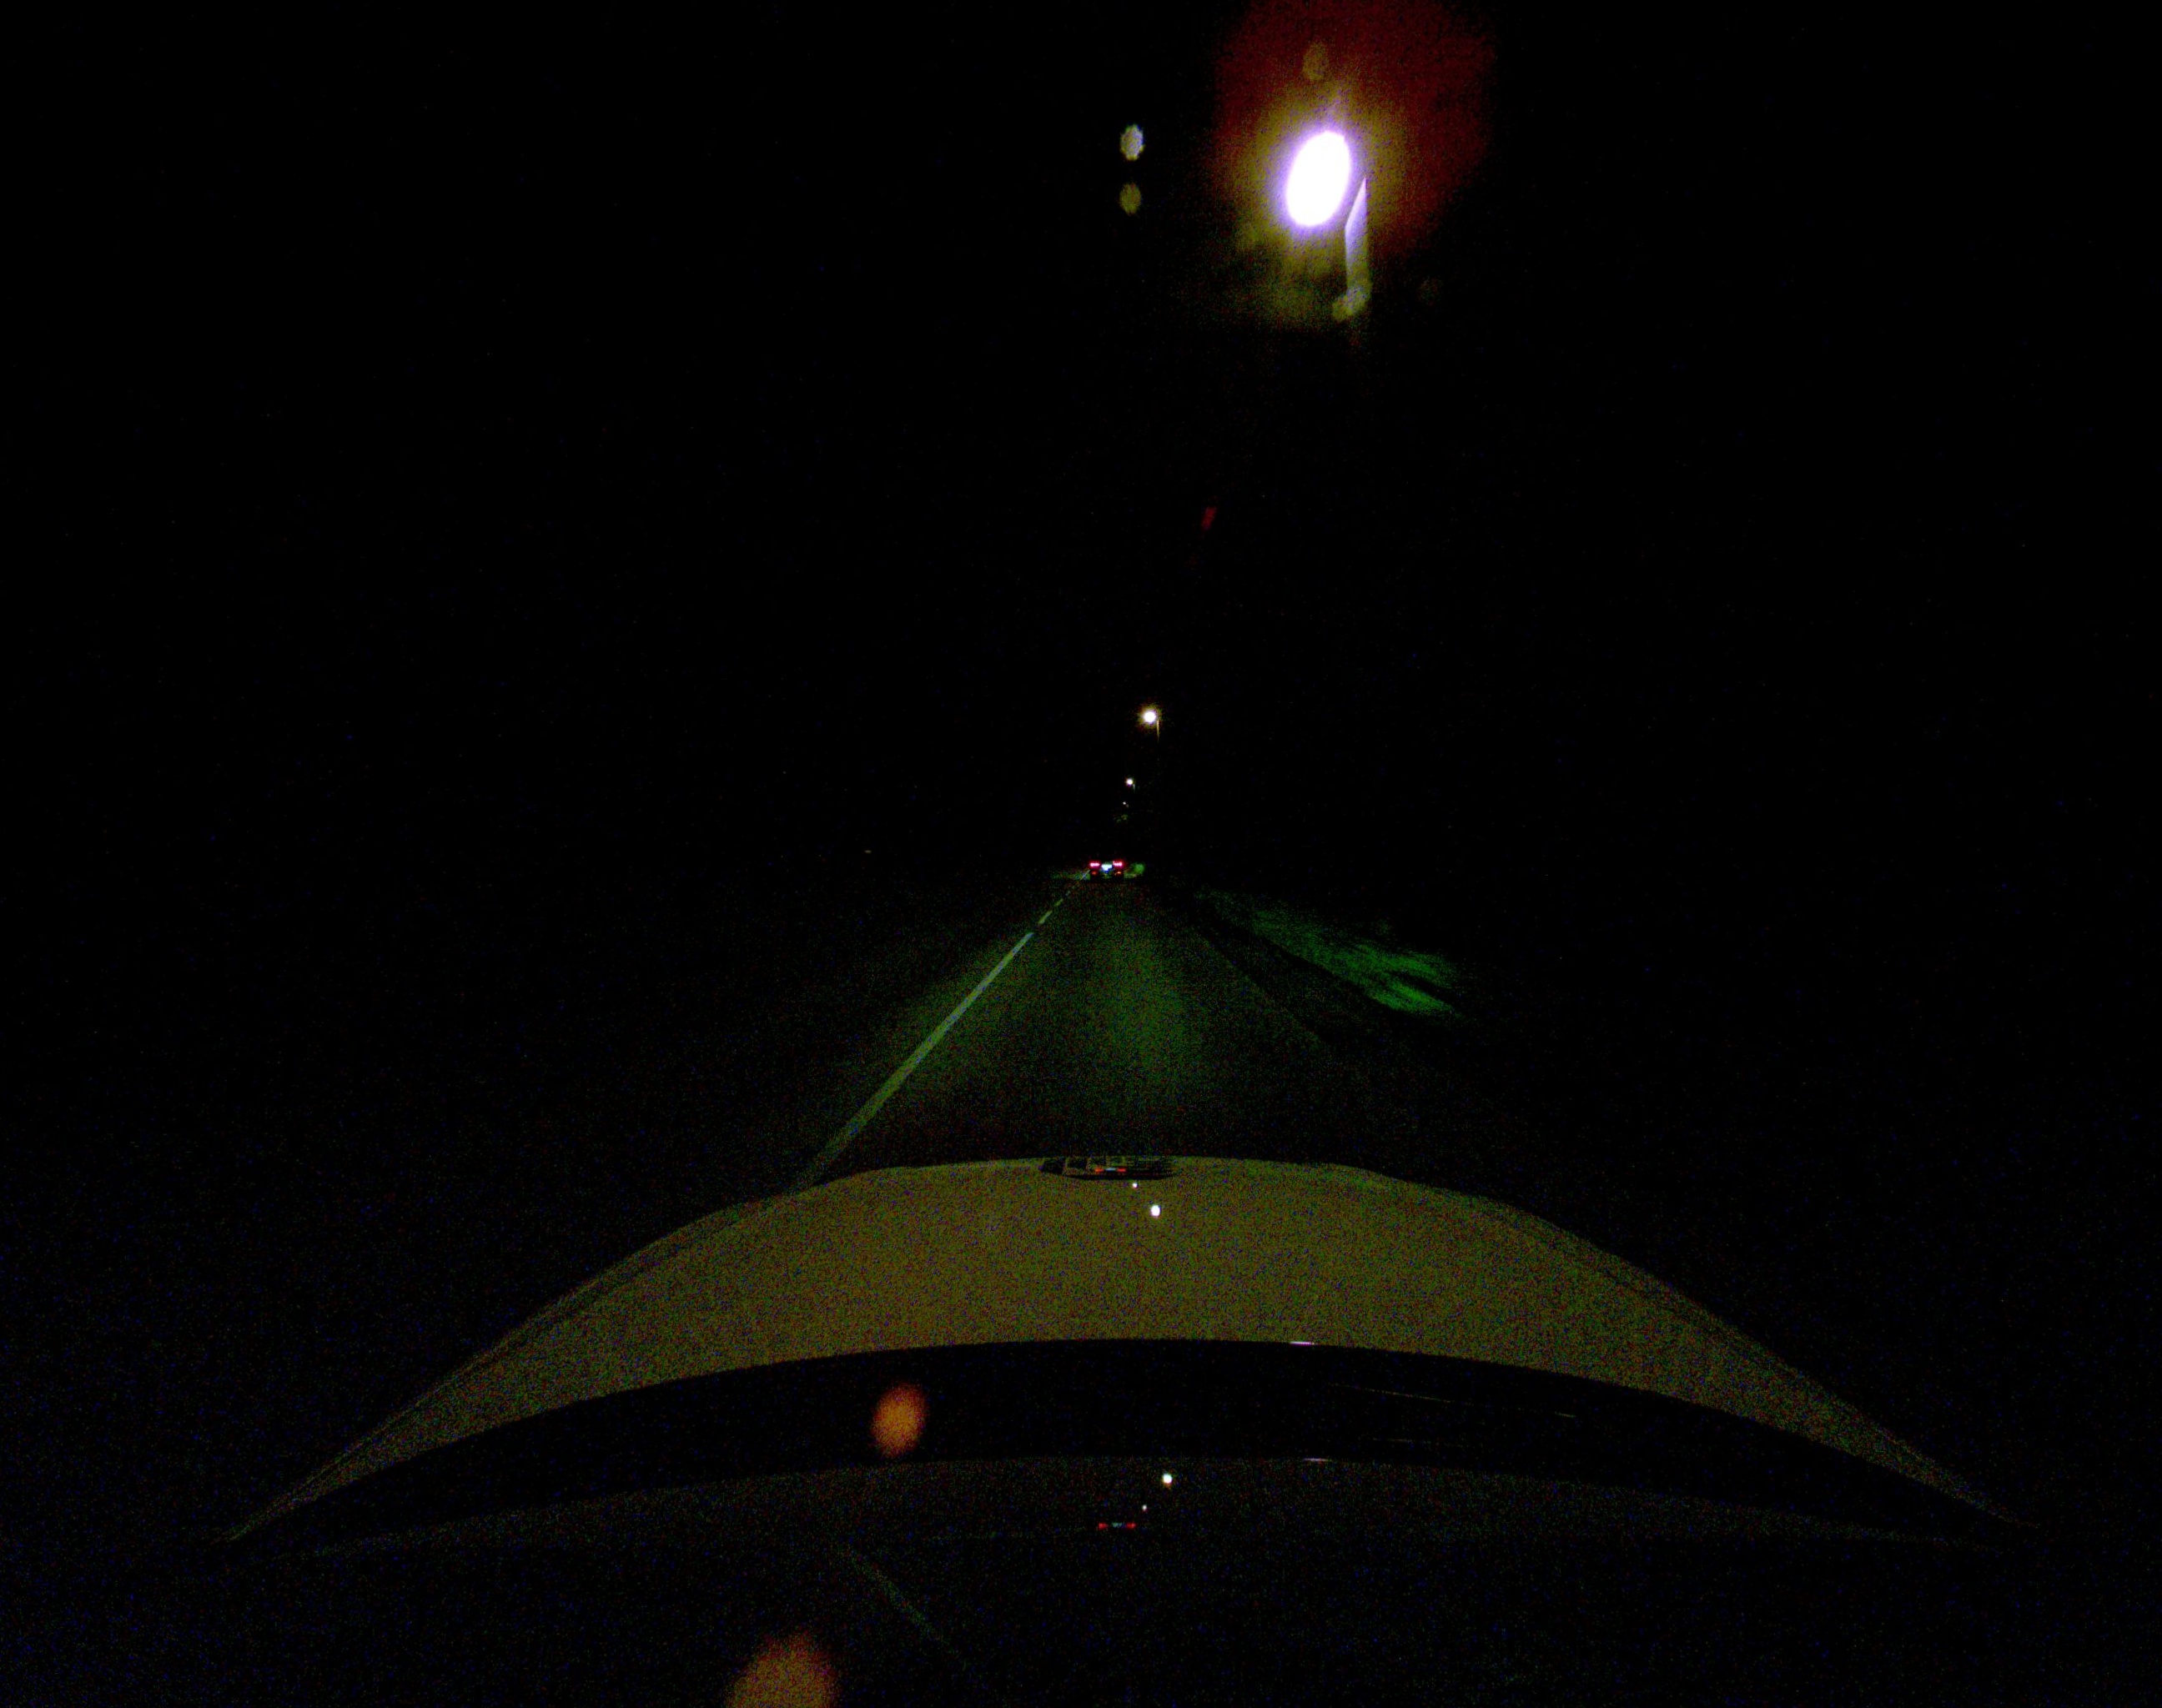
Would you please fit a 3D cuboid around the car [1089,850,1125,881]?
[{"bbox_3d":[1.354,0.589,44.095,1.808,1.573,3.944,-2,0,1],"label":"car"}]
